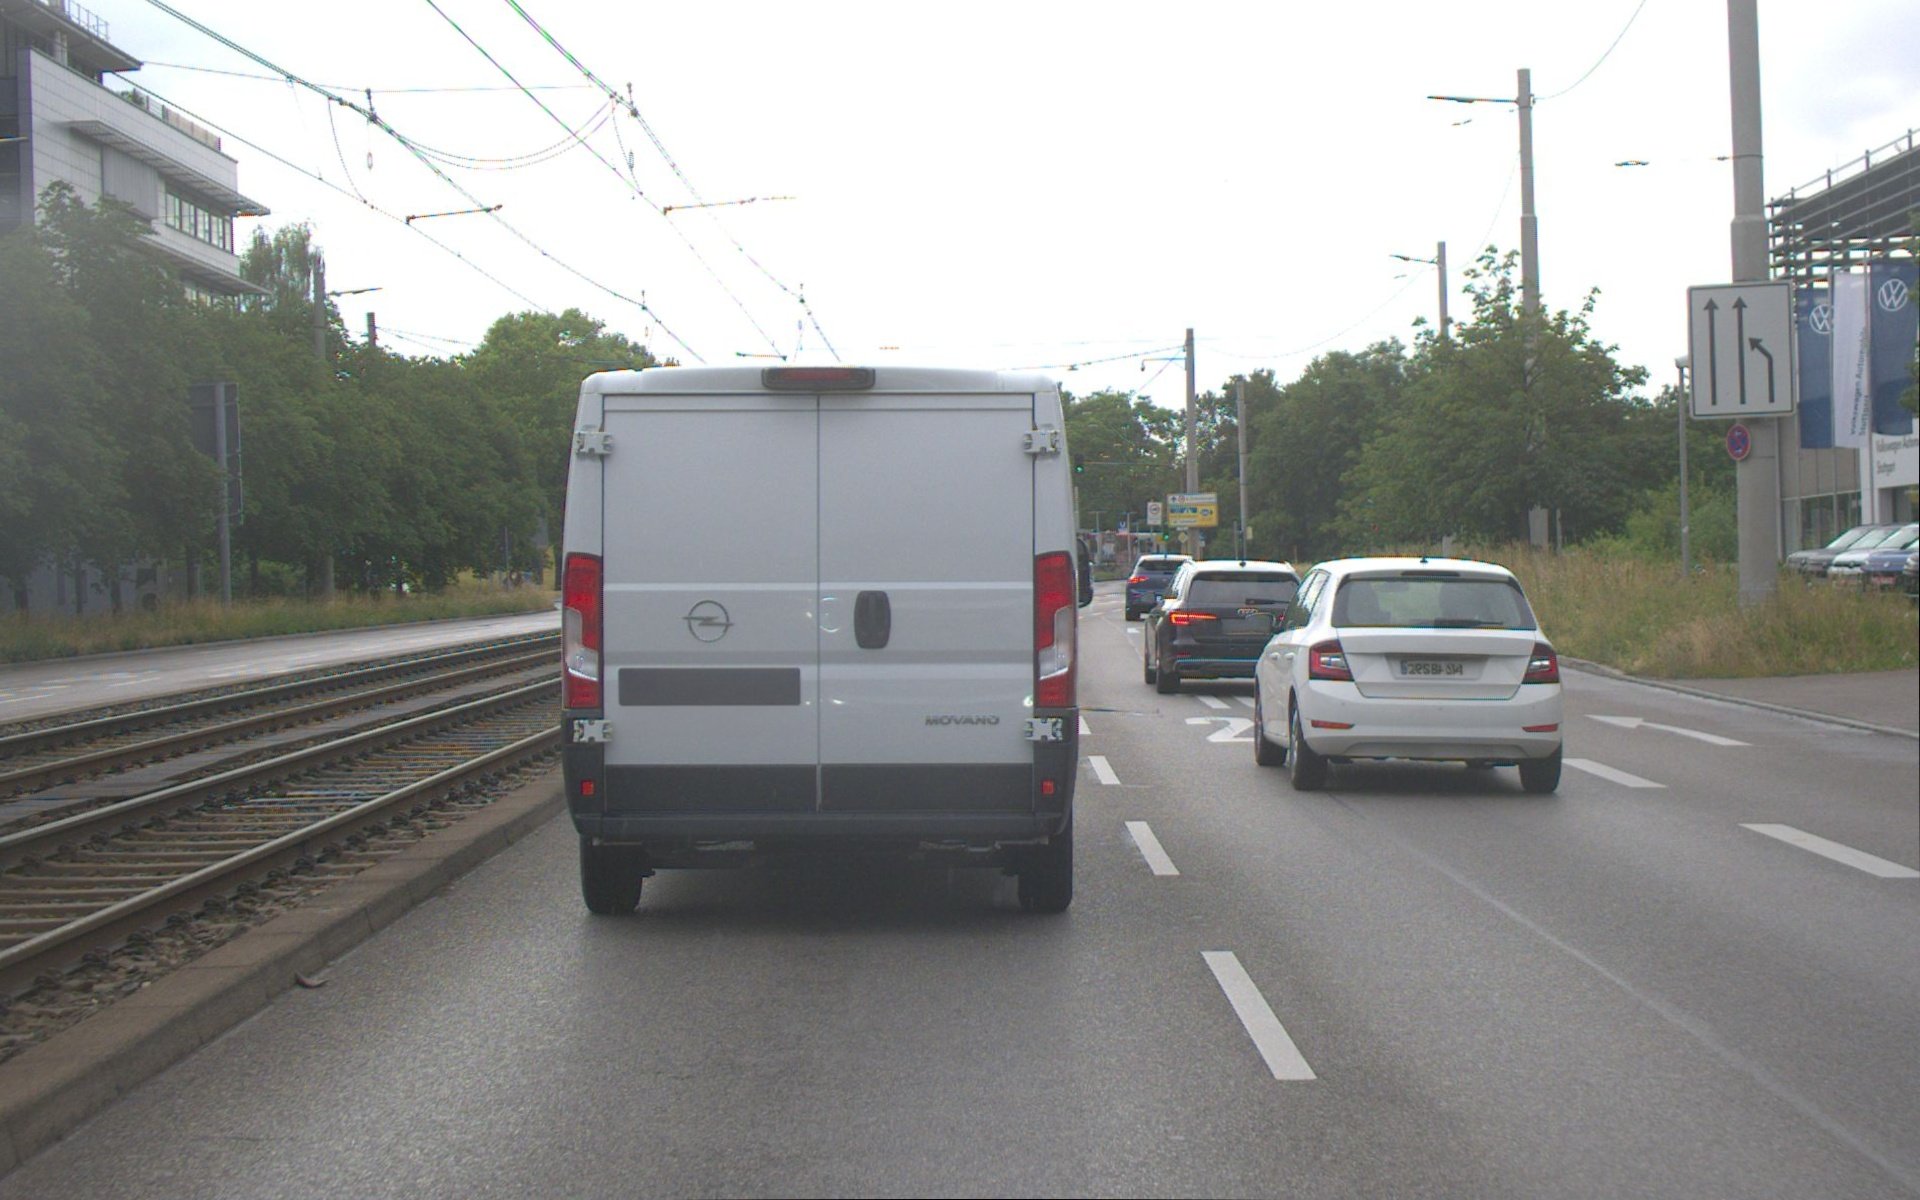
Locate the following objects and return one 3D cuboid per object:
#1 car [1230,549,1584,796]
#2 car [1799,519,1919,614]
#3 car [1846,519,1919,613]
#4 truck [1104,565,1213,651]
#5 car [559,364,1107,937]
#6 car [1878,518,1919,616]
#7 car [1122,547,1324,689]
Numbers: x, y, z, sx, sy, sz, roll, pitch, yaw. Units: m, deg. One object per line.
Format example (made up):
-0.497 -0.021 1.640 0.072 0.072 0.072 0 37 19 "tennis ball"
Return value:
2.832 0.410 22.518 1.746 1.452 3.671 1 1 -1 "car"
17.867 -0.672 63.713 4.340 1.621 1.856 -3 0 -29 "car"
17.642 -0.665 60.092 4.177 1.563 1.799 -3 0 -34 "car"
4.380 0.155 76.387 1.993 1.784 4.414 -2 1 -2 "truck"
-0.480 0.149 15.673 2.090 2.189 5.061 0 1 0 "car"
17.142 -0.628 56.568 4.178 1.563 1.798 -3 0 -40 "car"
2.779 0.172 37.133 1.789 1.444 4.000 0 0 -1 "car"
